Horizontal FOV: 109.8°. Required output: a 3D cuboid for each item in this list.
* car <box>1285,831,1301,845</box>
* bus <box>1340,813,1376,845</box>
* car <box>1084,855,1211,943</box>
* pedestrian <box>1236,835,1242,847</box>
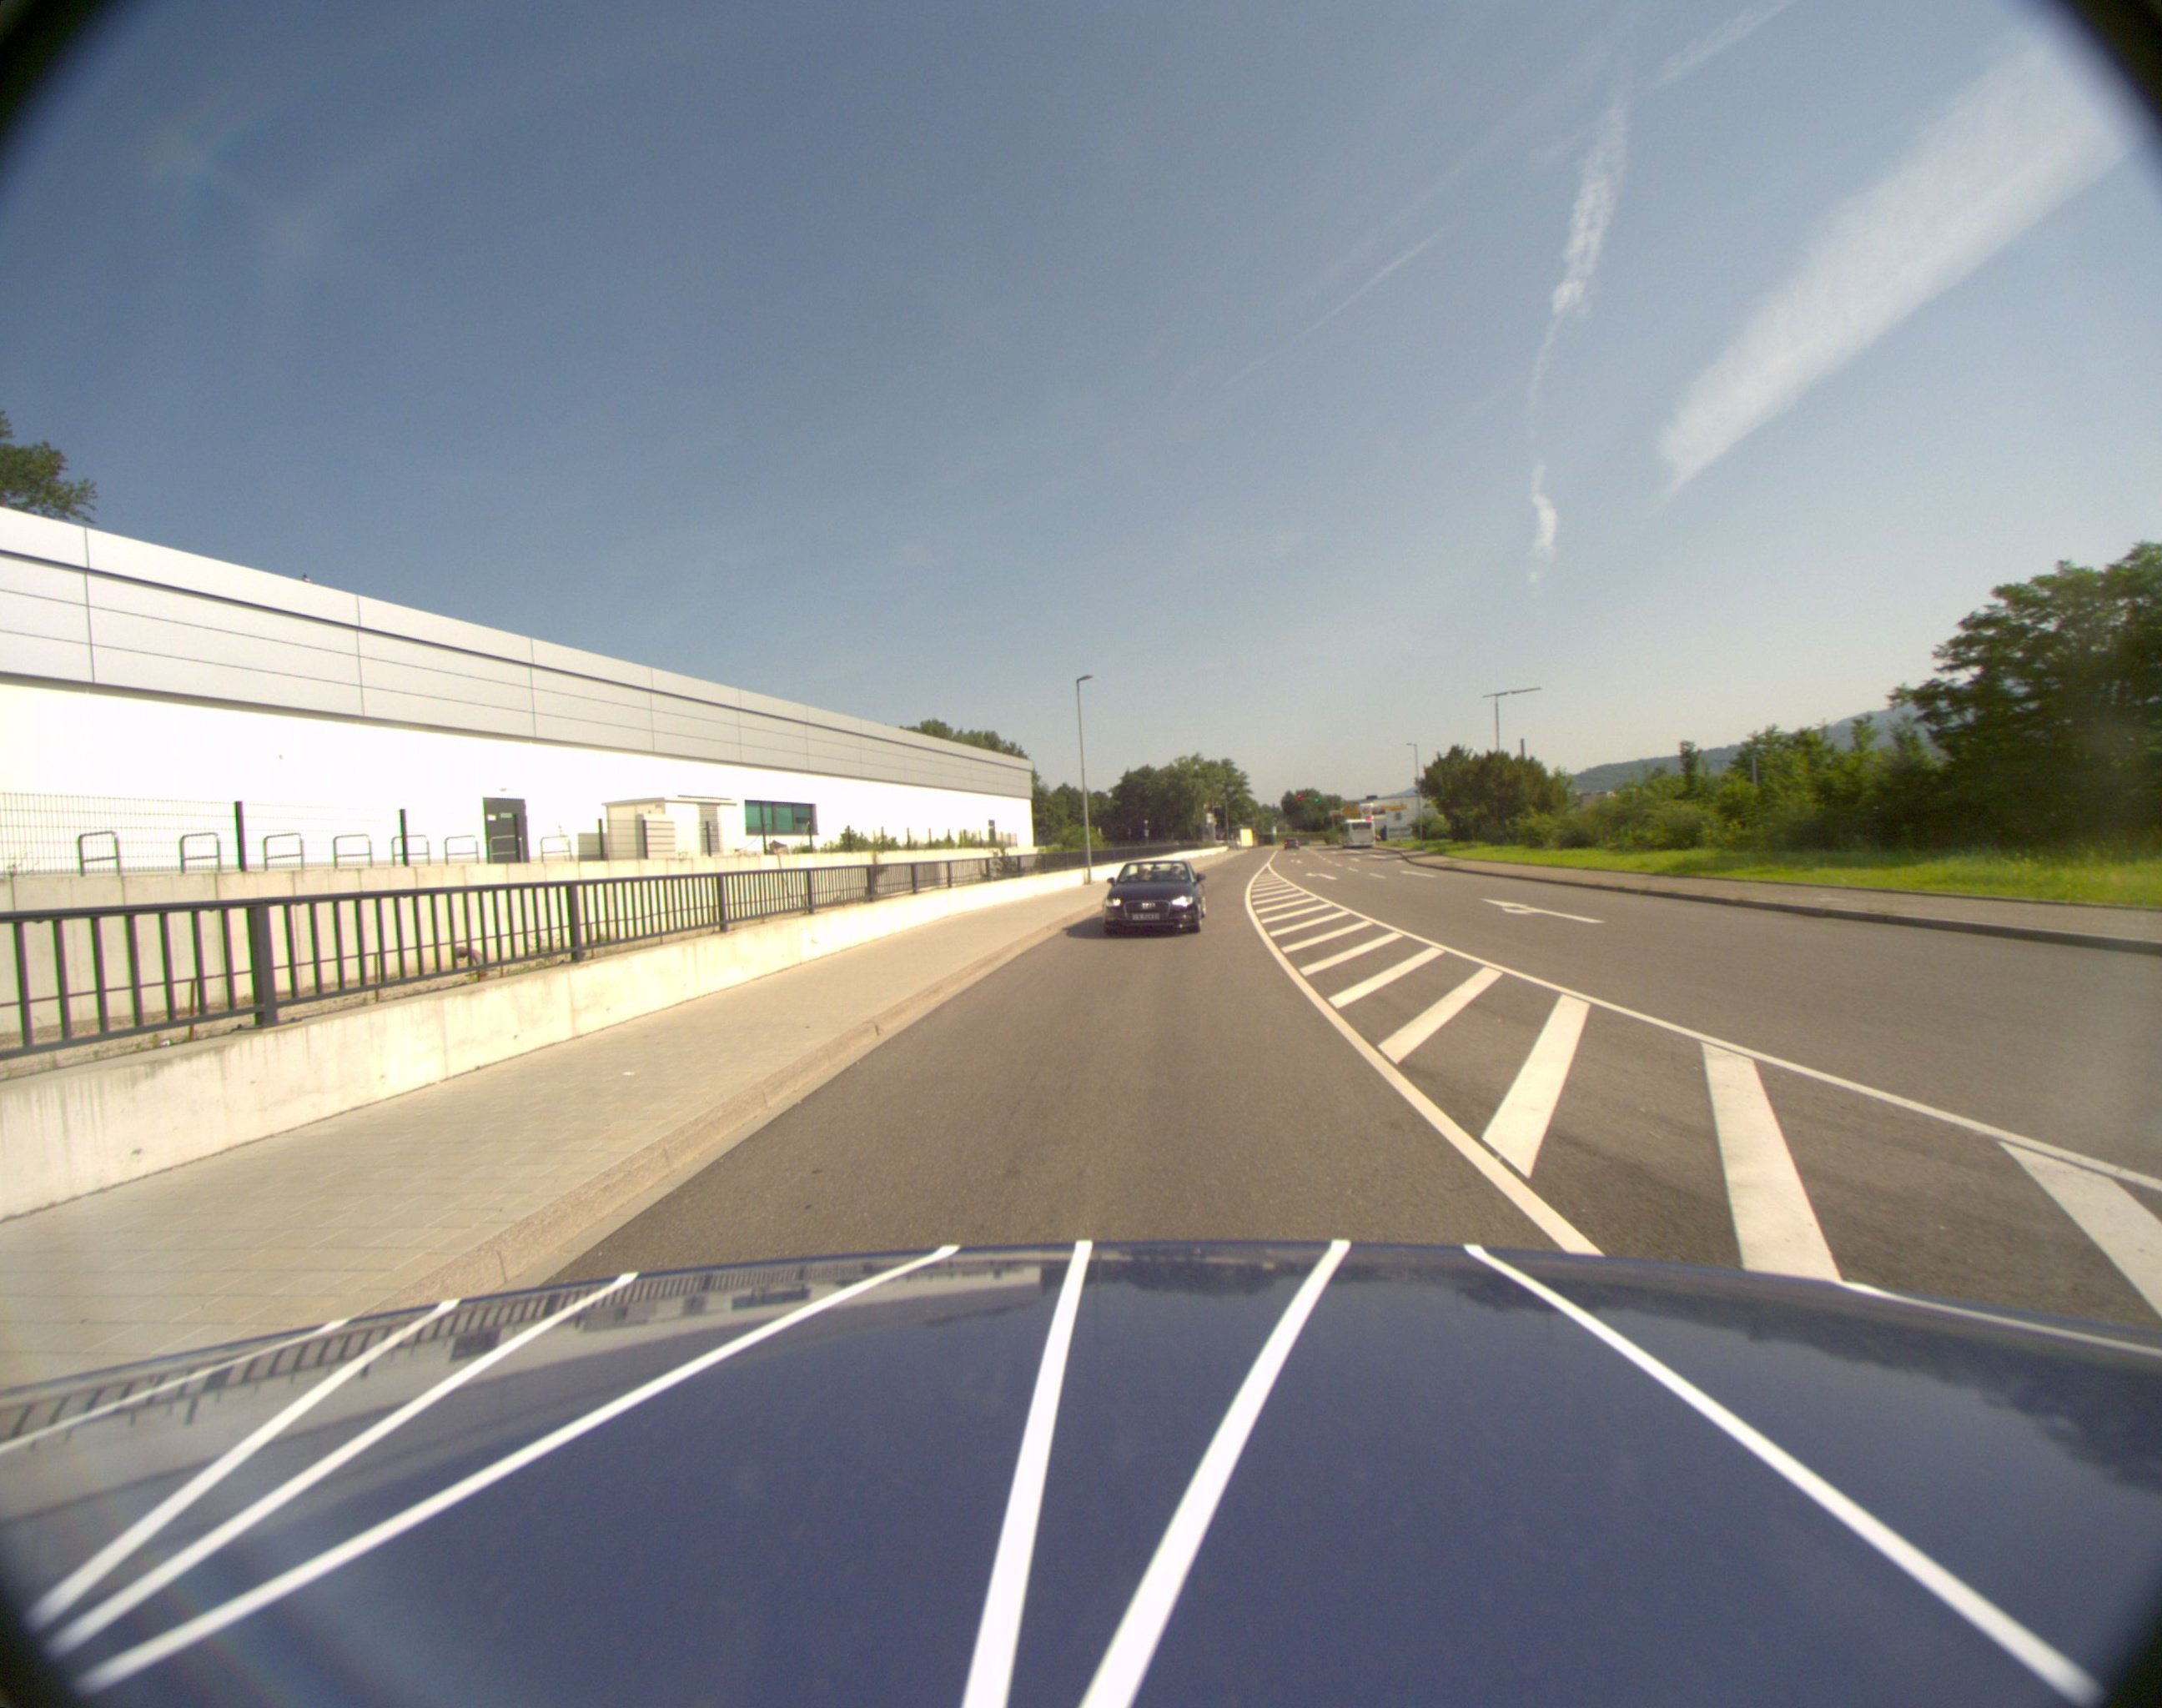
[{"bbox_3d":[25.848,-1.957,92.525,1.775,1.465,4.223,-2,2,16],"label":"car"},{"bbox_3d":[31.120,-2.854,85.636,2.624,3.291,11.966,-2,2,15],"label":"bus"},{"bbox_3d":[1.494,0.808,15.271,1.867,1.323,4.235,-3,1,14],"label":"car"},{"bbox_3d":[20.873,-1.730,100.527,0.712,1.662,0.593,-2,2,9],"label":"pedestrian"}]
